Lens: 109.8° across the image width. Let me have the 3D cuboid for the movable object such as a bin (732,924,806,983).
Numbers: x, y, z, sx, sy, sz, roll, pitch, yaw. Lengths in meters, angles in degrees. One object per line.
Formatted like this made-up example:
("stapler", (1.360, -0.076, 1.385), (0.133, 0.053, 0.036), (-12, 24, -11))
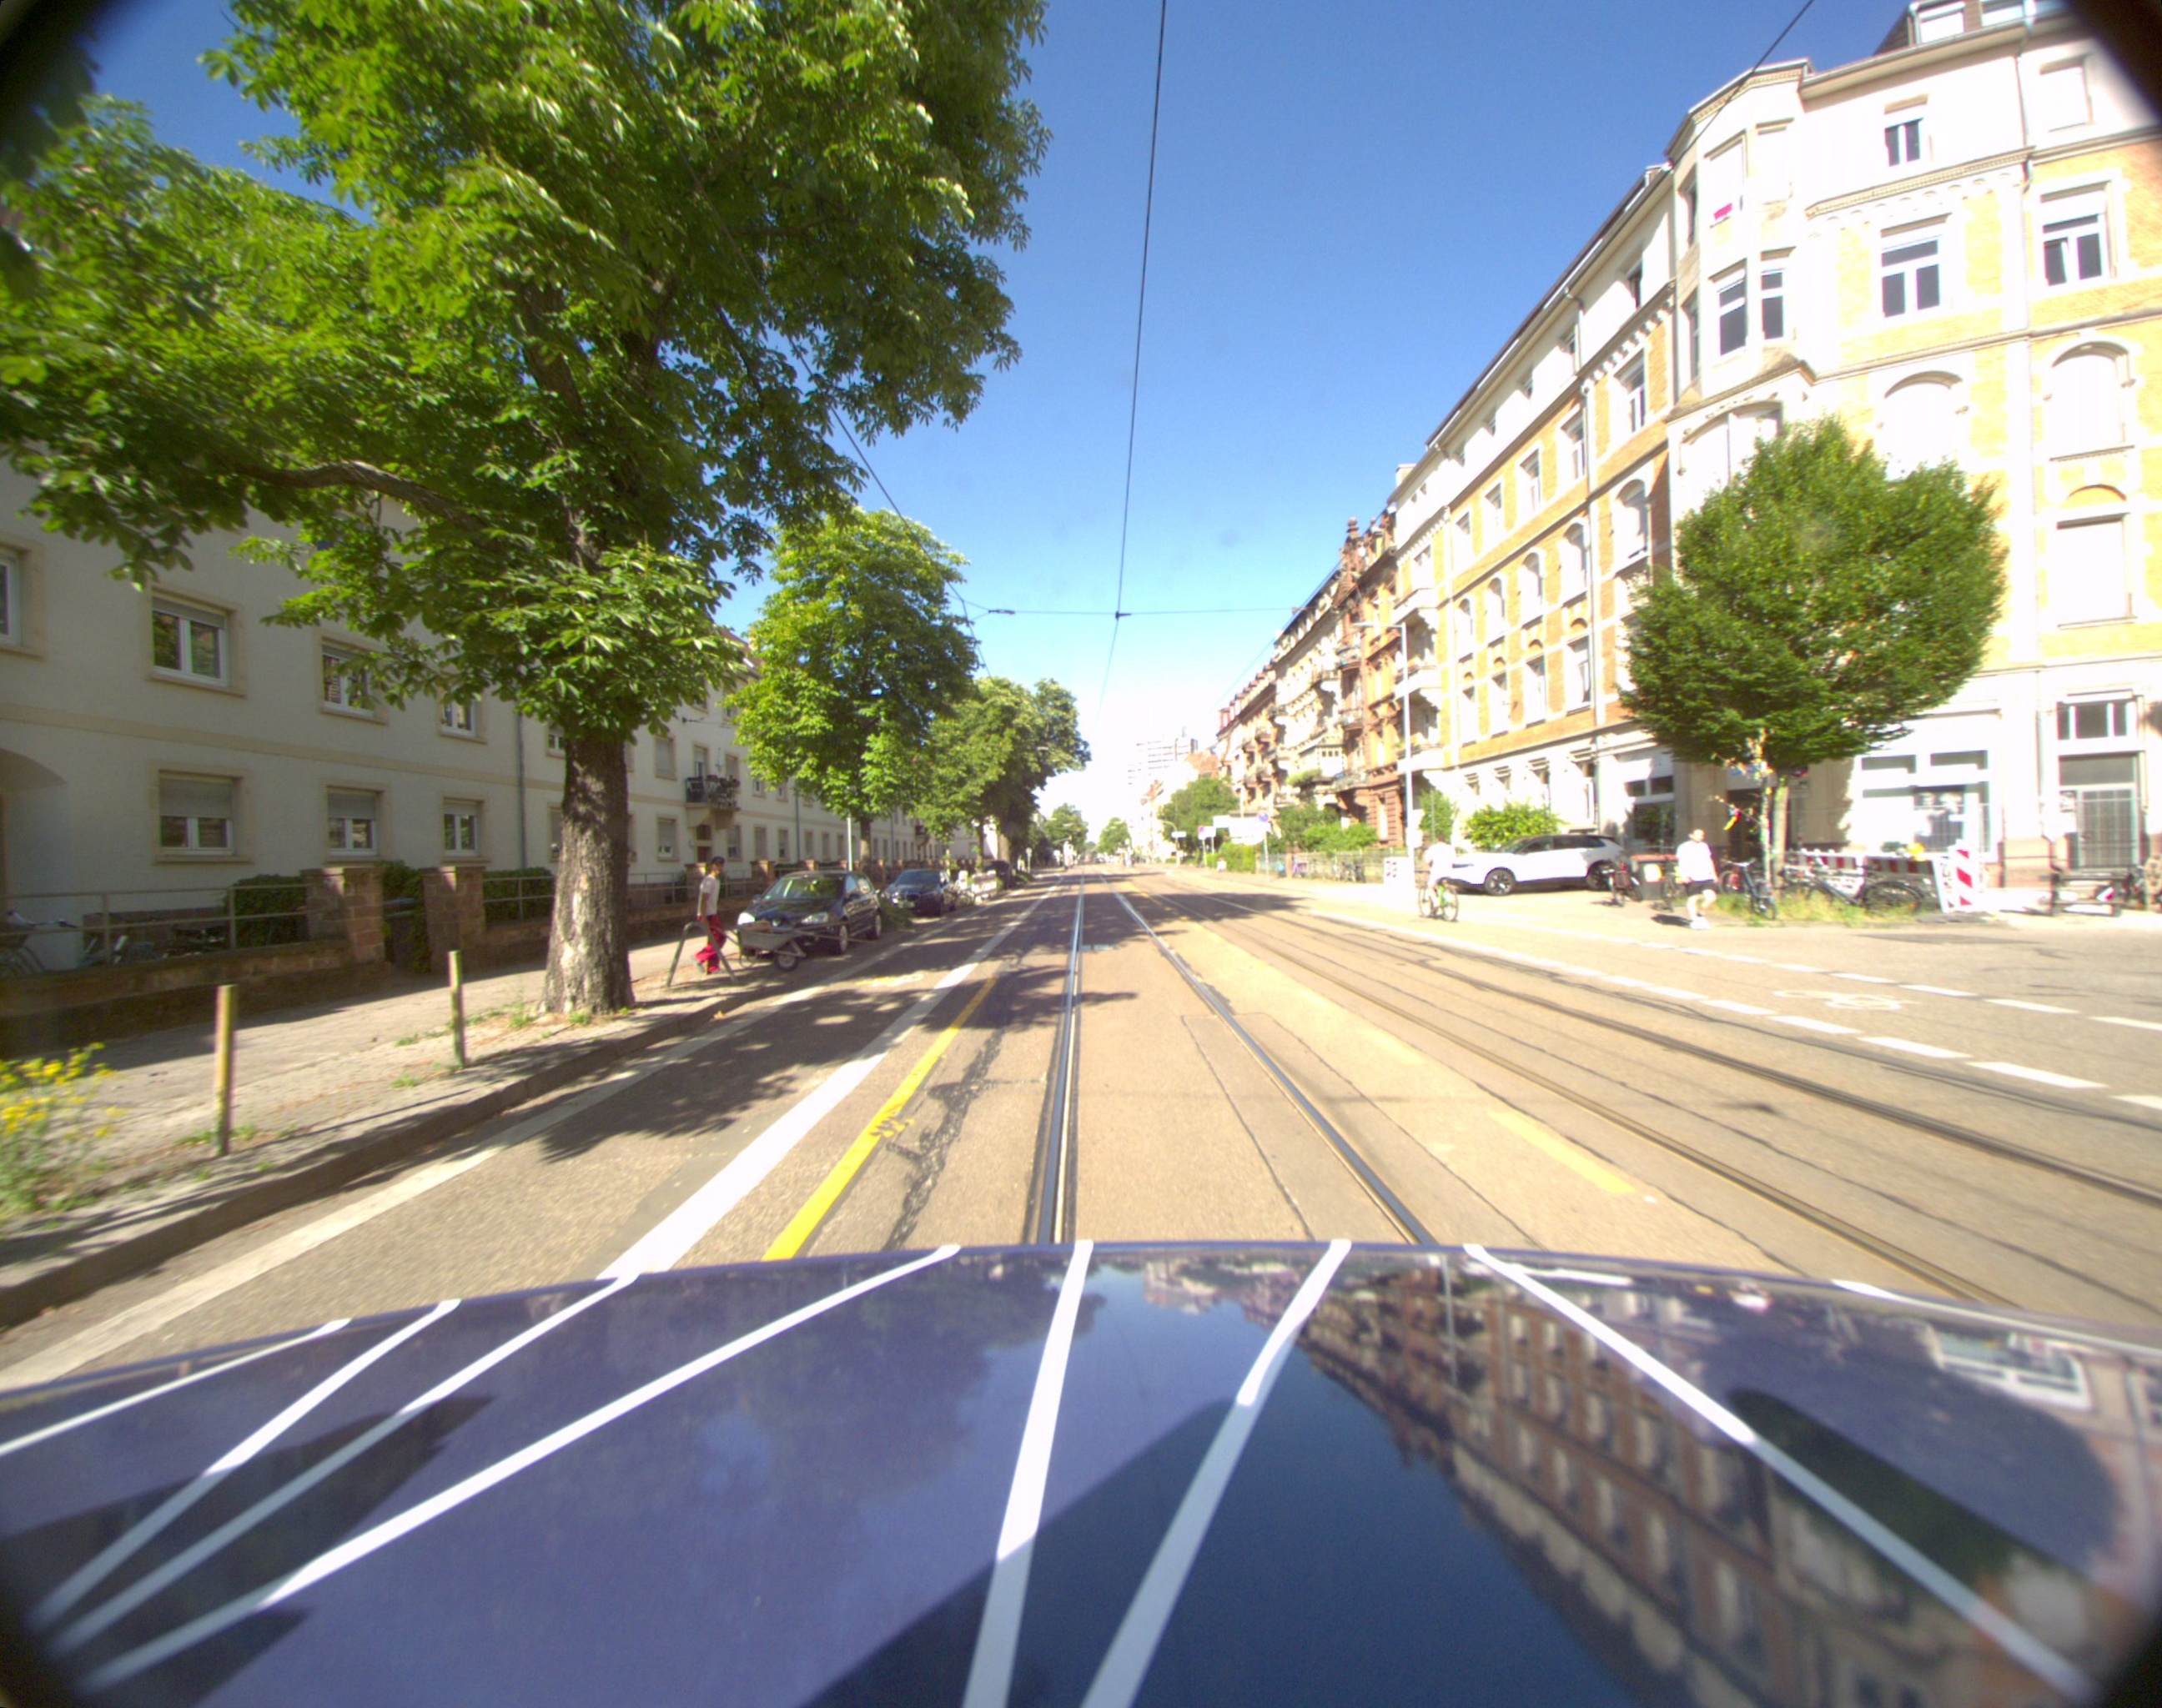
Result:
("movable object such as a bin", (-4.646, 1.462, 11.301), (0.925, 0.739, 0.665), (1, 1, -30))

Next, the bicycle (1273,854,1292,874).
("bicycle", (11.114, 0.549, 41.957), (0.564, 1.027, 1.768), (-4, -1, 1))

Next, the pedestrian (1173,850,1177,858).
("pedestrian", (16.531, 0.038, 133.872), (0.659, 1.274, 0.724), (-4, 0, 1))

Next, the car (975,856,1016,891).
("car", (-4.842, 1.054, 43.362), (1.748, 1.755, 4.477), (-4, 0, 0))

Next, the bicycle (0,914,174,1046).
("bicycle", (-11.126, 1.329, 8.197), (0.544, 1.213, 1.741), (-1, 0, 0))

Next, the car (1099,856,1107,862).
("car", (6.061, 1.320, 212.079), (1.902, 1.608, 4.264), (-1, 0, -1))

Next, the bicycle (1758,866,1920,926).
("bicycle", (13.621, 0.724, 13.728), (0.581, 0.970, 1.983), (-4, 1, -35))

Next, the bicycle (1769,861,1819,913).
("bicycle", (14.103, 0.626, 15.048), (0.619, 0.909, 1.297), (-1, 2, 39))

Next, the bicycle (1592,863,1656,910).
("bicycle", (12.303, 0.704, 17.201), (1.791, 0.909, 0.619), (-4, 2, -35))

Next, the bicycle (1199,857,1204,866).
("bicycle", (12.457, 0.773, 78.399), (0.342, 0.920, 1.943), (-4, 0, 5))

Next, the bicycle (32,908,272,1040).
("bicycle", (-10.391, 1.282, 8.610), (0.544, 1.213, 1.741), (-1, 0, 0))

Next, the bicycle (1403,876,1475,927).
("bicycle", (7.357, 0.943, 15.708), (0.461, 0.920, 2.202), (-1, 0, 1))

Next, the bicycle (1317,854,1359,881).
("bicycle", (10.915, 0.585, 32.363), (0.565, 1.027, 1.764), (-7, 0, -24))

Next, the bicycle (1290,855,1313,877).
("bicycle", (11.054, 0.594, 38.184), (0.564, 1.027, 1.767), (-4, 0, 0))

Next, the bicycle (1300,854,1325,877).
("bicycle", (11.010, 0.554, 36.223), (0.564, 1.027, 1.767), (-4, 0, 0))

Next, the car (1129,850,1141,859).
("car", (10.799, 0.095, 152.376), (1.836, 1.509, 4.967), (-4, 0, 1))

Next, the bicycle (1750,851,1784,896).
("bicycle", (15.776, 0.432, 17.469), (1.545, 0.909, 0.246), (-4, 3, -35))

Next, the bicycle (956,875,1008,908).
("bicycle", (-3.586, 1.351, 27.680), (1.766, 1.071, 0.433), (-4, 1, 1))

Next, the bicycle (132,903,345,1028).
("bicycle", (-9.841, 1.247, 8.984), (0.544, 1.213, 1.741), (-1, 0, 0))

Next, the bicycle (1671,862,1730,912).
("bicycle", (12.885, 0.666, 15.791), (1.297, 0.909, 0.619), (-4, 2, -35))

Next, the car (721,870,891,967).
("car", (-4.992, 1.089, 14.457), (1.724, 1.465, 4.245), (-1, 0, -1))

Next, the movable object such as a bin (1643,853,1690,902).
("movable object such as a bin", (13.396, 0.538, 17.405), (0.577, 1.064, 0.717), (-3, 0, 14))

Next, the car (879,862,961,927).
("car", (-4.950, 1.175, 23.928), (1.670, 1.750, 4.231), (-2, 0, -1))

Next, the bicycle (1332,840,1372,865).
("bicycle", (13.884, -0.073, 39.001), (1.766, 1.148, 0.565), (-6, 0, 0))

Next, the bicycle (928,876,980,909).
("bicycle", (-4.707, 1.420, 28.158), (1.766, 1.071, 0.433), (-4, 1, 1))

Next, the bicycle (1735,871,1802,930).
("bicycle", (12.326, 0.806, 13.613), (1.297, 0.909, 0.619), (-4, 2, -35))

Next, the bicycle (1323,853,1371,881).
("bicycle", (10.751, 0.533, 30.719), (0.566, 1.027, 1.763), (-3, -1, -36))

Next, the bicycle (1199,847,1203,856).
("bicycle", (13.117, -0.273, 83.083), (0.342, 0.920, 1.943), (-4, 0, 5))

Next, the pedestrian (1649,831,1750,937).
("pedestrian", (10.644, 0.491, 13.119), (0.831, 1.714, 1.082), (-3, 2, 4))

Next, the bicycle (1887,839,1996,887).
("bicycle", (19.961, 0.213, 17.656), (1.600, 1.031, 0.407), (-4, -1, 25))

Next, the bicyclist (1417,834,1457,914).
("bicyclist", (7.336, 0.396, 15.684), (0.465, 1.609, 0.744), (0, 1, 0))

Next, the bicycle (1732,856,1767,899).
("bicycle", (15.595, 0.534, 17.712), (1.545, 0.909, 0.246), (-4, 3, -35))

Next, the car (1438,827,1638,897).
("car", (12.966, 0.211, 21.800), (4.456, 1.634, 1.967), (-4, 1, 3))

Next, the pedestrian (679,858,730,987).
("pedestrian", (-5.413, 0.942, 10.906), (0.602, 1.760, 0.911), (0, 0, -30))
